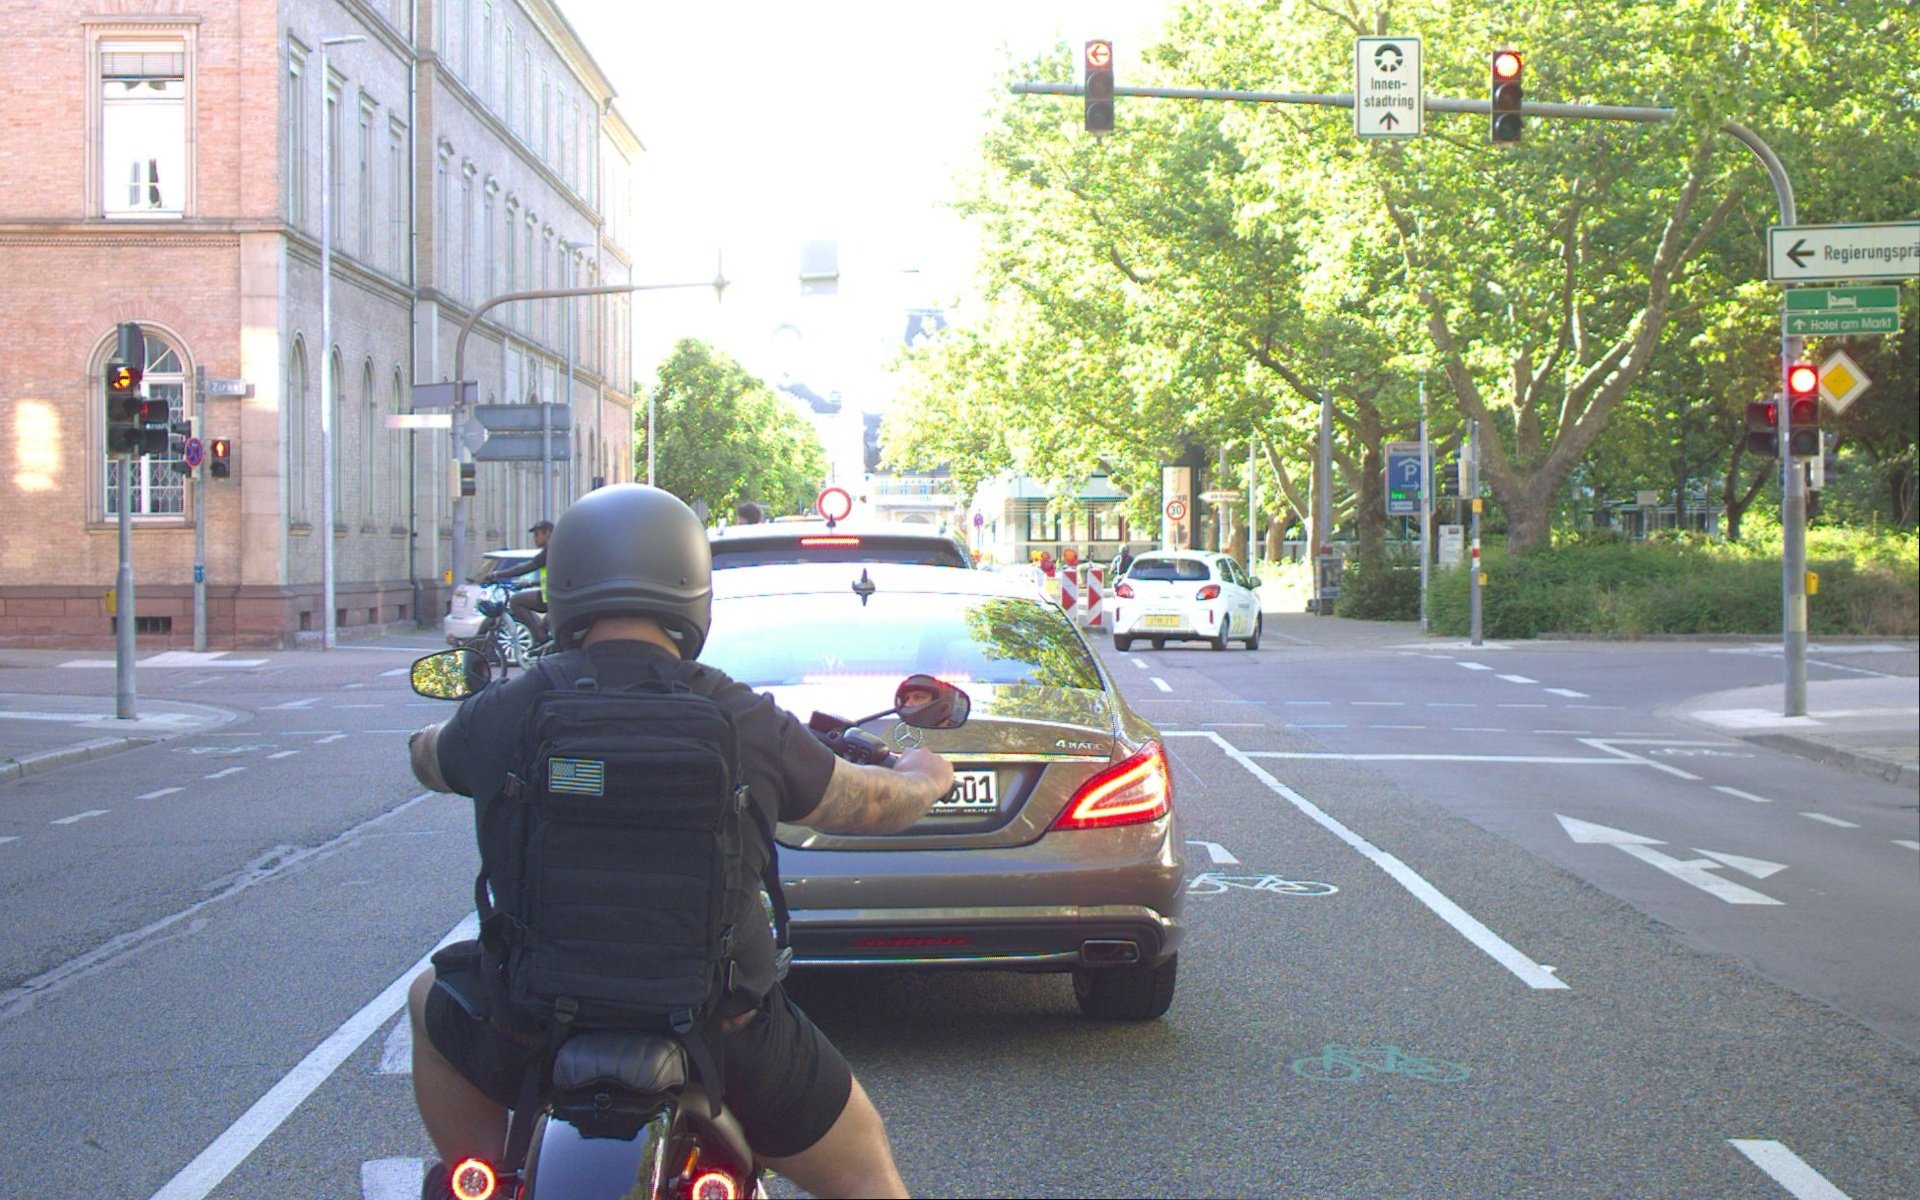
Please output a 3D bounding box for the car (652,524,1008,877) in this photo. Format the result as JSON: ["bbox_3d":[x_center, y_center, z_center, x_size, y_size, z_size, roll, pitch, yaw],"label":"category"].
[{"bbox_3d":[-0.639,0.415,17.775,1.612,1.602,4.329,0,1,-1],"label":"car"}]

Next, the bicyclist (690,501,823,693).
[{"bbox_3d":[-1.817,-0.033,30.721,0.964,1.687,0.704,1,1,40],"label":"bicyclist"}]

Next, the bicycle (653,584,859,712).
[{"bbox_3d":[-1.831,0.413,30.729,1.878,1.099,0.704,1,1,41],"label":"bicycle"}]

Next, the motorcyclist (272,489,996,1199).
[{"bbox_3d":[-0.453,0.630,5.414,0.989,1.591,1.404,0,1,-1],"label":"motorcyclist"}]

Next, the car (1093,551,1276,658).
[{"bbox_3d":[3.335,0.042,50.455,1.857,1.481,3.905,1,1,16],"label":"car"}]

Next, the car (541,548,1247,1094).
[{"bbox_3d":[-0.433,0.564,11.609,1.945,1.468,4.363,0,1,-7],"label":"car"}]

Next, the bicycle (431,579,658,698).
[{"bbox_3d":[-3.981,0.366,32.863,2.160,1.099,0.704,-1,0,31],"label":"bicycle"}]

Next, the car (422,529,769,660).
[{"bbox_3d":[-4.475,-0.082,42.112,3.894,1.475,1.828,-2,1,-19],"label":"car"}]

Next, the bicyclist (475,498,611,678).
[{"bbox_3d":[-3.987,-0.109,32.864,1.046,1.689,0.704,-1,0,30],"label":"bicyclist"}]

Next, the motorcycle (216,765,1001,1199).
[{"bbox_3d":[-0.457,0.886,5.573,0.989,1.075,2.452,0,1,-1],"label":"motorcycle"}]
